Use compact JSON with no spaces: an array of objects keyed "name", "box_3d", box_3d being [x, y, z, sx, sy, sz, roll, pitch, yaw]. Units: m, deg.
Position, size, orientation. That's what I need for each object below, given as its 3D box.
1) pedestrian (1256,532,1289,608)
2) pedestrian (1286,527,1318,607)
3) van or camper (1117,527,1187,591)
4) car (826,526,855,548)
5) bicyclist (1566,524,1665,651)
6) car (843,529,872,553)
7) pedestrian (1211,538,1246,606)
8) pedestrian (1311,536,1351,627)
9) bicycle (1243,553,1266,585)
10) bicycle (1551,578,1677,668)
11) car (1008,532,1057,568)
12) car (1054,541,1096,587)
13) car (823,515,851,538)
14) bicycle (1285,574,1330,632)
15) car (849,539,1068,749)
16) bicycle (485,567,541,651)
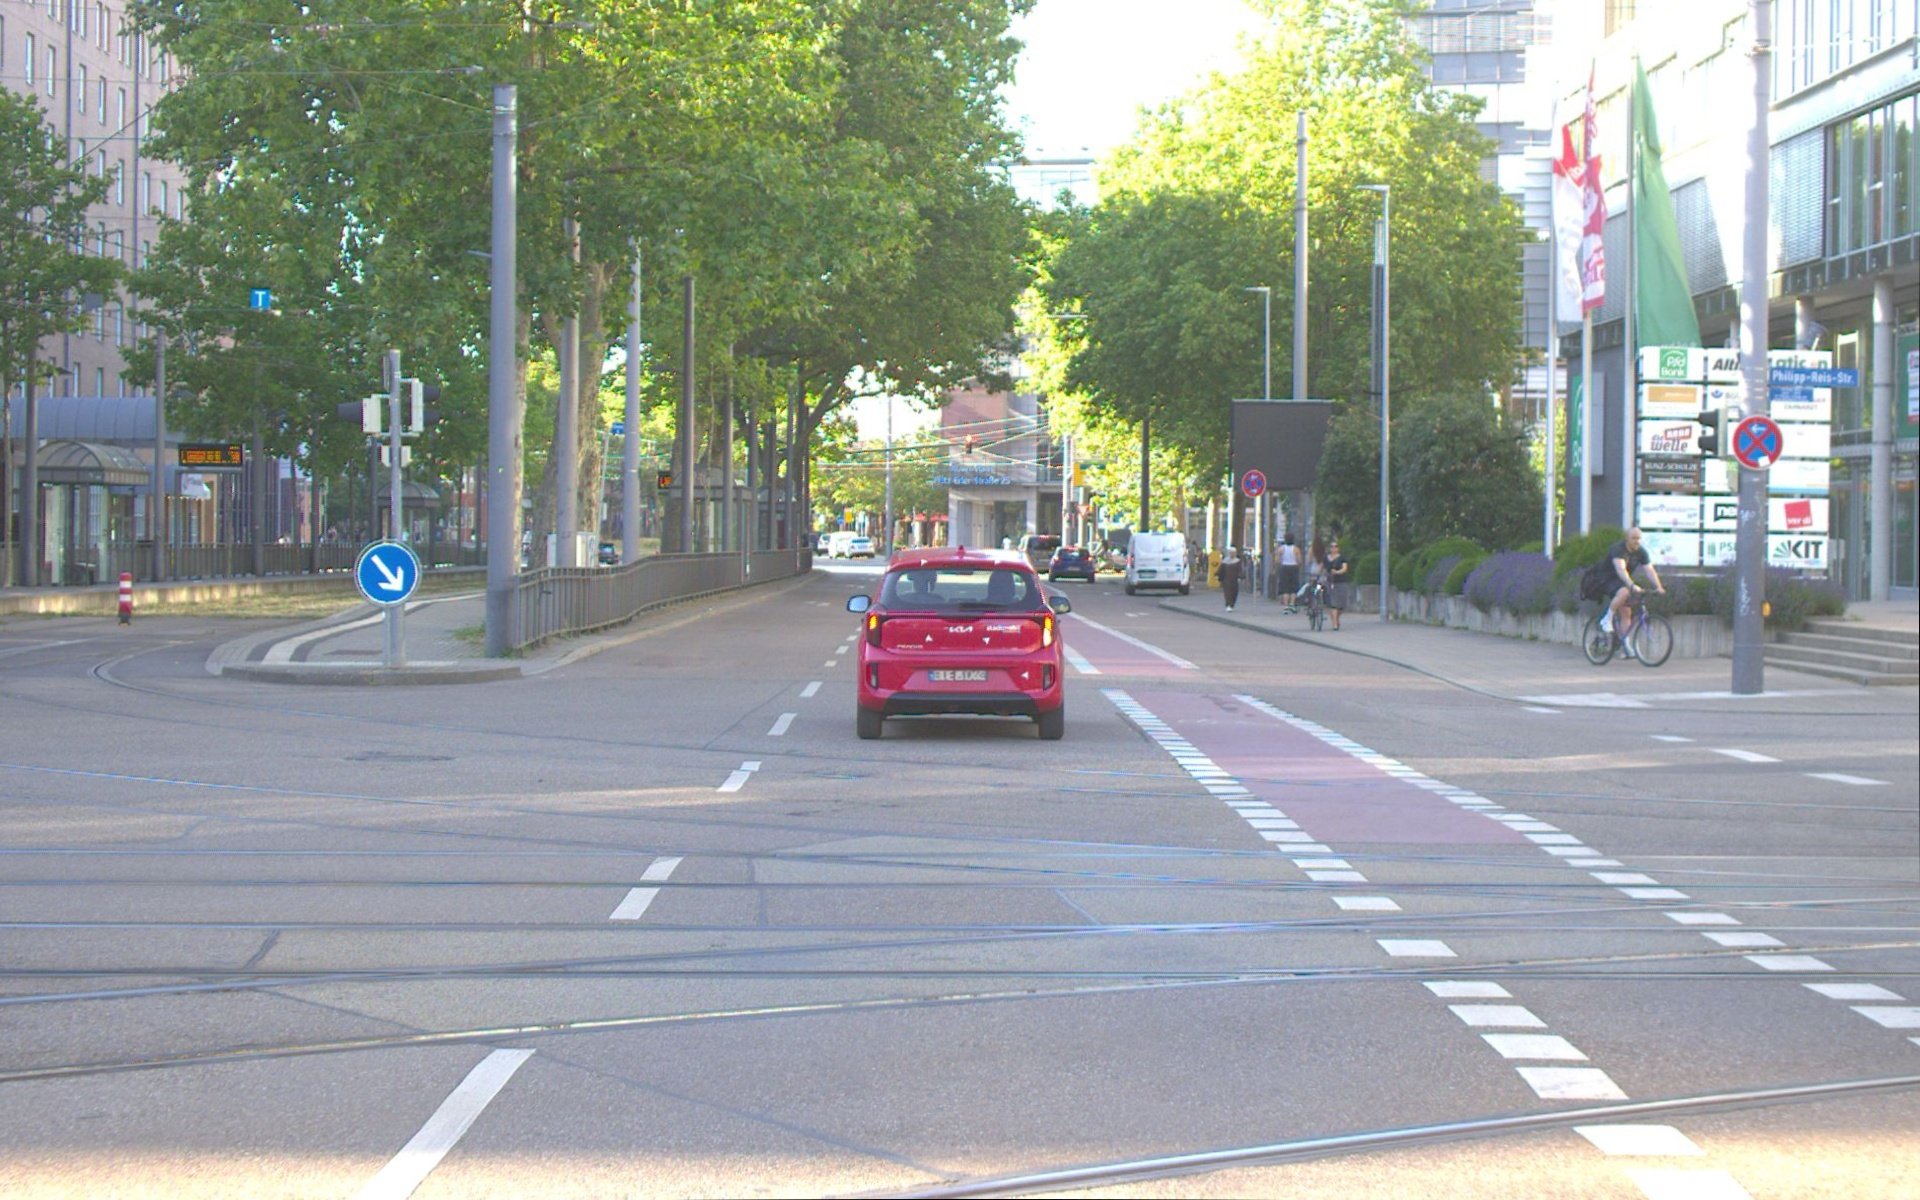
[{"name":"pedestrian","box_3d":[7.080,-0.680,77.908,0.564,1.696,0.907,-2,1,-3]},{"name":"pedestrian","box_3d":[7.752,-0.756,77.917,0.540,1.790,0.907,-2,1,-3]},{"name":"van or camper","box_3d":[6.132,-1.327,110.366,1.993,1.982,4.745,1,1,1]},{"name":"car","box_3d":[-8.408,-4.441,241.951,1.777,1.529,3.412,1,1,-5]},{"name":"bicyclist","box_3d":[8.406,-0.168,44.118,0.721,1.597,1.089,-2,2,-24]},{"name":"car","box_3d":[-7.032,-4.044,235.369,1.777,1.529,3.412,1,1,-5]},{"name":"pedestrian","box_3d":[6.360,-0.675,81.515,0.641,1.574,0.723,-3,1,-4]},{"name":"pedestrian","box_3d":[6.849,-0.347,63.501,0.646,1.674,0.651,1,1,-1]},{"name":"bicycle","box_3d":[9.913,-1.056,115.831,0.586,1.063,1.900,0,1,-1]},{"name":"bicycle","box_3d":[8.395,0.287,44.190,0.696,1.094,1.751,-3,2,-23]},{"name":"car","box_3d":[3.239,-2.256,153.729,1.777,1.529,3.513,1,1,-5]},{"name":"car","box_3d":[4.611,-1.457,138.478,1.635,1.794,3.330,1,1,1]},{"name":"car","box_3d":[-8.886,-5.295,247.947,1.777,1.583,3.412,1,1,-5]},{"name":"bicycle","box_3d":[6.413,0.047,63.453,0.520,0.971,2.202,-3,2,-1]},{"name":"car","box_3d":[-0.028,0.300,27.656,1.613,1.529,3.412,2,1,0]},{"name":"bicycle","box_3d":[-5.470,0.104,42.106,0.395,0.945,1.351,1,4,5]}]
